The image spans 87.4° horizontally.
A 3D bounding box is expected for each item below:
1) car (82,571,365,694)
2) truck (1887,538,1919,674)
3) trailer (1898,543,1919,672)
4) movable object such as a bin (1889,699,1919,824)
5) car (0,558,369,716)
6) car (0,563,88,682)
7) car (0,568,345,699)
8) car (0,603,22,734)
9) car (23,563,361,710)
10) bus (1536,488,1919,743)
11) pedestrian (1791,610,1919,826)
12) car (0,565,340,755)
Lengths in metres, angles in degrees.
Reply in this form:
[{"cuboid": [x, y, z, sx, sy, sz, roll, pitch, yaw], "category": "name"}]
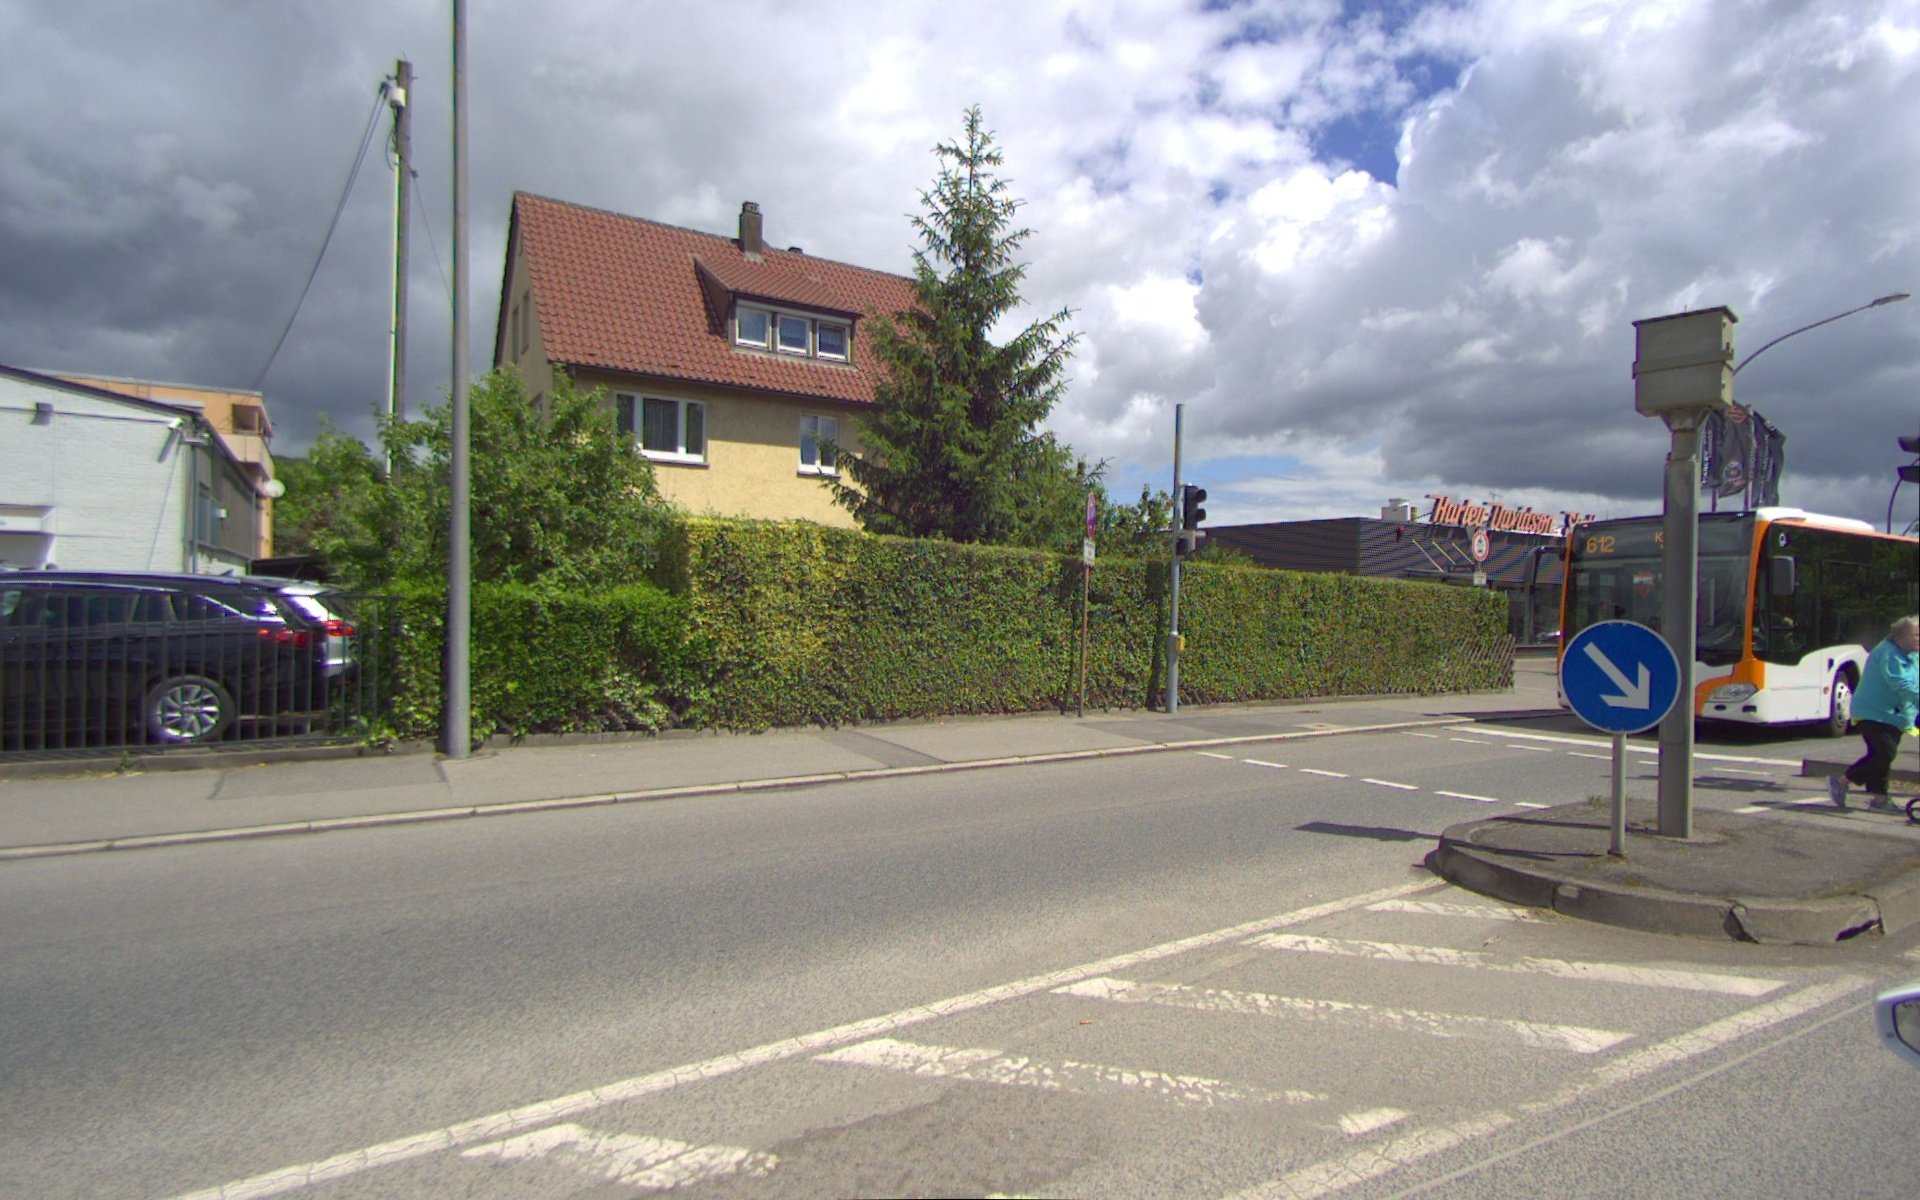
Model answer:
[{"cuboid": [-13.323, 0.582, 18.526, 3.953, 2.040, 1.984, 2, 0, -30], "category": "car"}, {"cuboid": [31.939, 0.285, 31.944, 6.448, 4.107, 2.775, 2, 0, -40], "category": "truck"}, {"cuboid": [36.938, 0.457, 36.155, 15.429, 4.107, 2.775, 2, 0, -40], "category": "trailer"}, {"cuboid": [7.443, 1.213, 7.390, 0.663, 0.883, 0.742, 2, 0, -33], "category": "movable object such as a bin"}, {"cuboid": [-9.016, 0.391, 11.357, 3.953, 1.561, 1.984, 2, 0, -30], "category": "car"}, {"cuboid": [-17.986, 0.340, 17.421, 3.953, 2.040, 1.984, 2, 0, -30], "category": "car"}, {"cuboid": [-10.723, 0.430, 13.629, 3.953, 1.569, 1.984, 2, 0, -30], "category": "car"}, {"cuboid": [-16.709, 1.035, 14.697, 3.953, 2.040, 1.984, 2, 0, -30], "category": "car"}, {"cuboid": [-11.826, 0.556, 15.882, 3.953, 2.040, 1.984, 2, 0, -30], "category": "car"}, {"cuboid": [14.179, 0.369, 16.359, 12.123, 3.071, 2.706, 2, -1, -31], "category": "bus"}, {"cuboid": [7.165, 0.876, 7.851, 0.726, 1.564, 0.833, 2, 0, -33], "category": "pedestrian"}, {"cuboid": [-7.855, 0.474, 8.853, 3.997, 1.502, 1.850, 2, 0, -31], "category": "car"}]
